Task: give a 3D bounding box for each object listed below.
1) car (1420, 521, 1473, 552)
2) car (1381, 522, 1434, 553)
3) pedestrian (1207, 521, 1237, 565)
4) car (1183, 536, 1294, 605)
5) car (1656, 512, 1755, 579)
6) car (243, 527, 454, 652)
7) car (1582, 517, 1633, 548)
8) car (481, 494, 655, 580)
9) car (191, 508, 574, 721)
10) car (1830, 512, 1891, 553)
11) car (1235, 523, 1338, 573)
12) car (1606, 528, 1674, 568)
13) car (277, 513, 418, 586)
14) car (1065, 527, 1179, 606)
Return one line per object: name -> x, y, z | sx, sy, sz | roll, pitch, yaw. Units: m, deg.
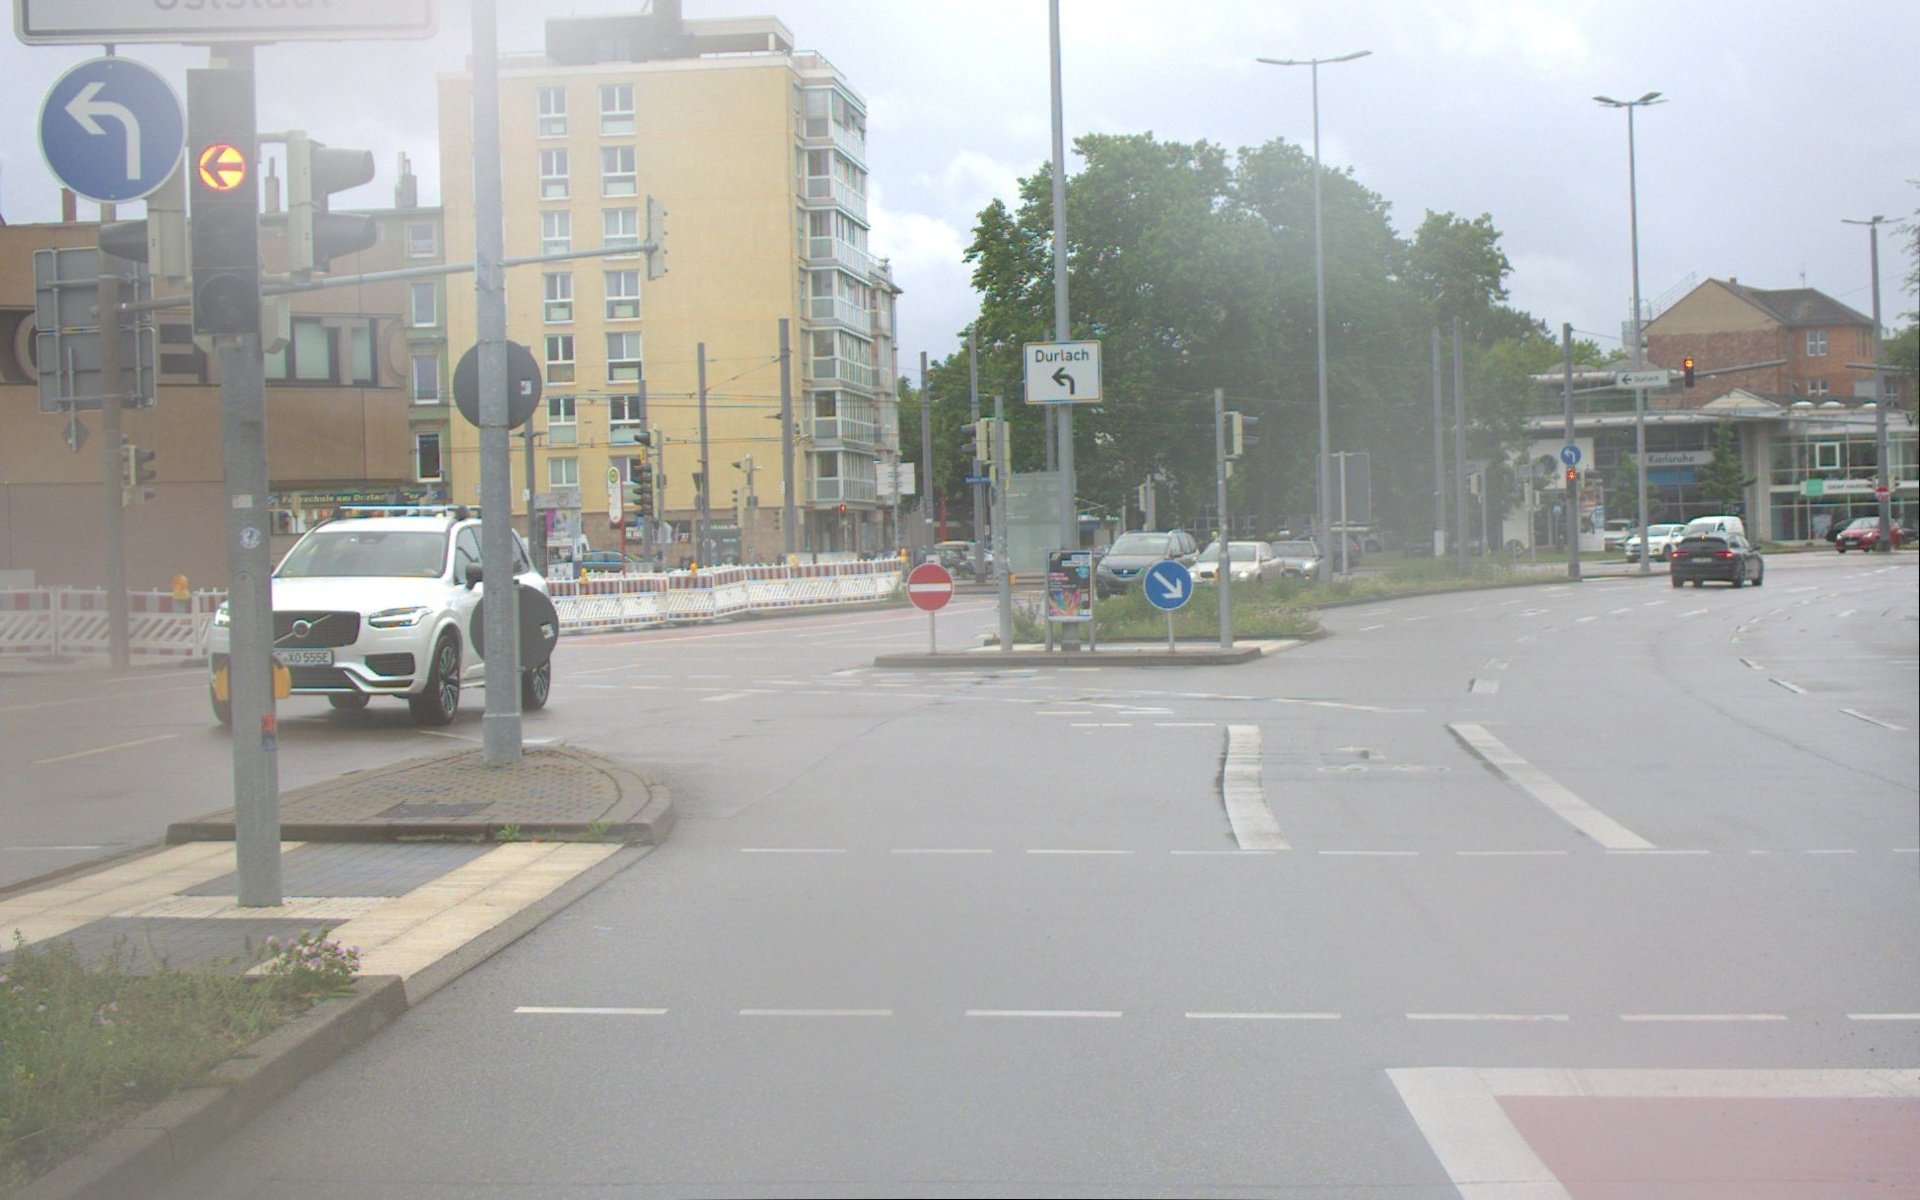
car -> 27.129, -3.543, 191.573 | 1.792, 1.637, 4.154 | -1, 1, 24
car -> 25.064, -3.512, 192.427 | 1.792, 1.637, 4.154 | -1, 1, 24
pedestrian -> 11.063, -2.422, 145.184 | 1.092, 1.807, 1.119 | -2, 1, -4
car -> 6.690, -0.724, 82.188 | 1.695, 1.410, 4.180 | -2, 3, 18
car -> 19.213, -1.417, 88.517 | 1.792, 1.637, 4.155 | -1, 1, 22
car -> -8.811, -0.190, 49.880 | 1.706, 1.700, 4.151 | -1, 1, 9
car -> 35.403, -3.688, 187.982 | 1.792, 1.637, 4.154 | -1, 1, 24
car -> -16.345, -2.636, 143.636 | 6.742, 3.368, 2.809 | -1, 1, 3
car -> -4.863, 0.060, 29.777 | 1.827, 1.676, 5.164 | 0, 1, 7
car -> 38.378, -2.886, 146.459 | 1.792, 1.637, 4.041 | -1, 1, 25
car -> 9.121, -1.466, 95.890 | 1.774, 1.371, 4.116 | 0, 1, 22
car -> 29.139, -2.241, 147.328 | 1.792, 1.637, 4.391 | -1, 1, 26
car -> -25.709, -2.123, 144.403 | 5.351, 2.877, 2.339 | -1, 1, 3
car -> 4.002, -0.834, 84.488 | 1.695, 1.684, 4.180 | -2, 3, 18
